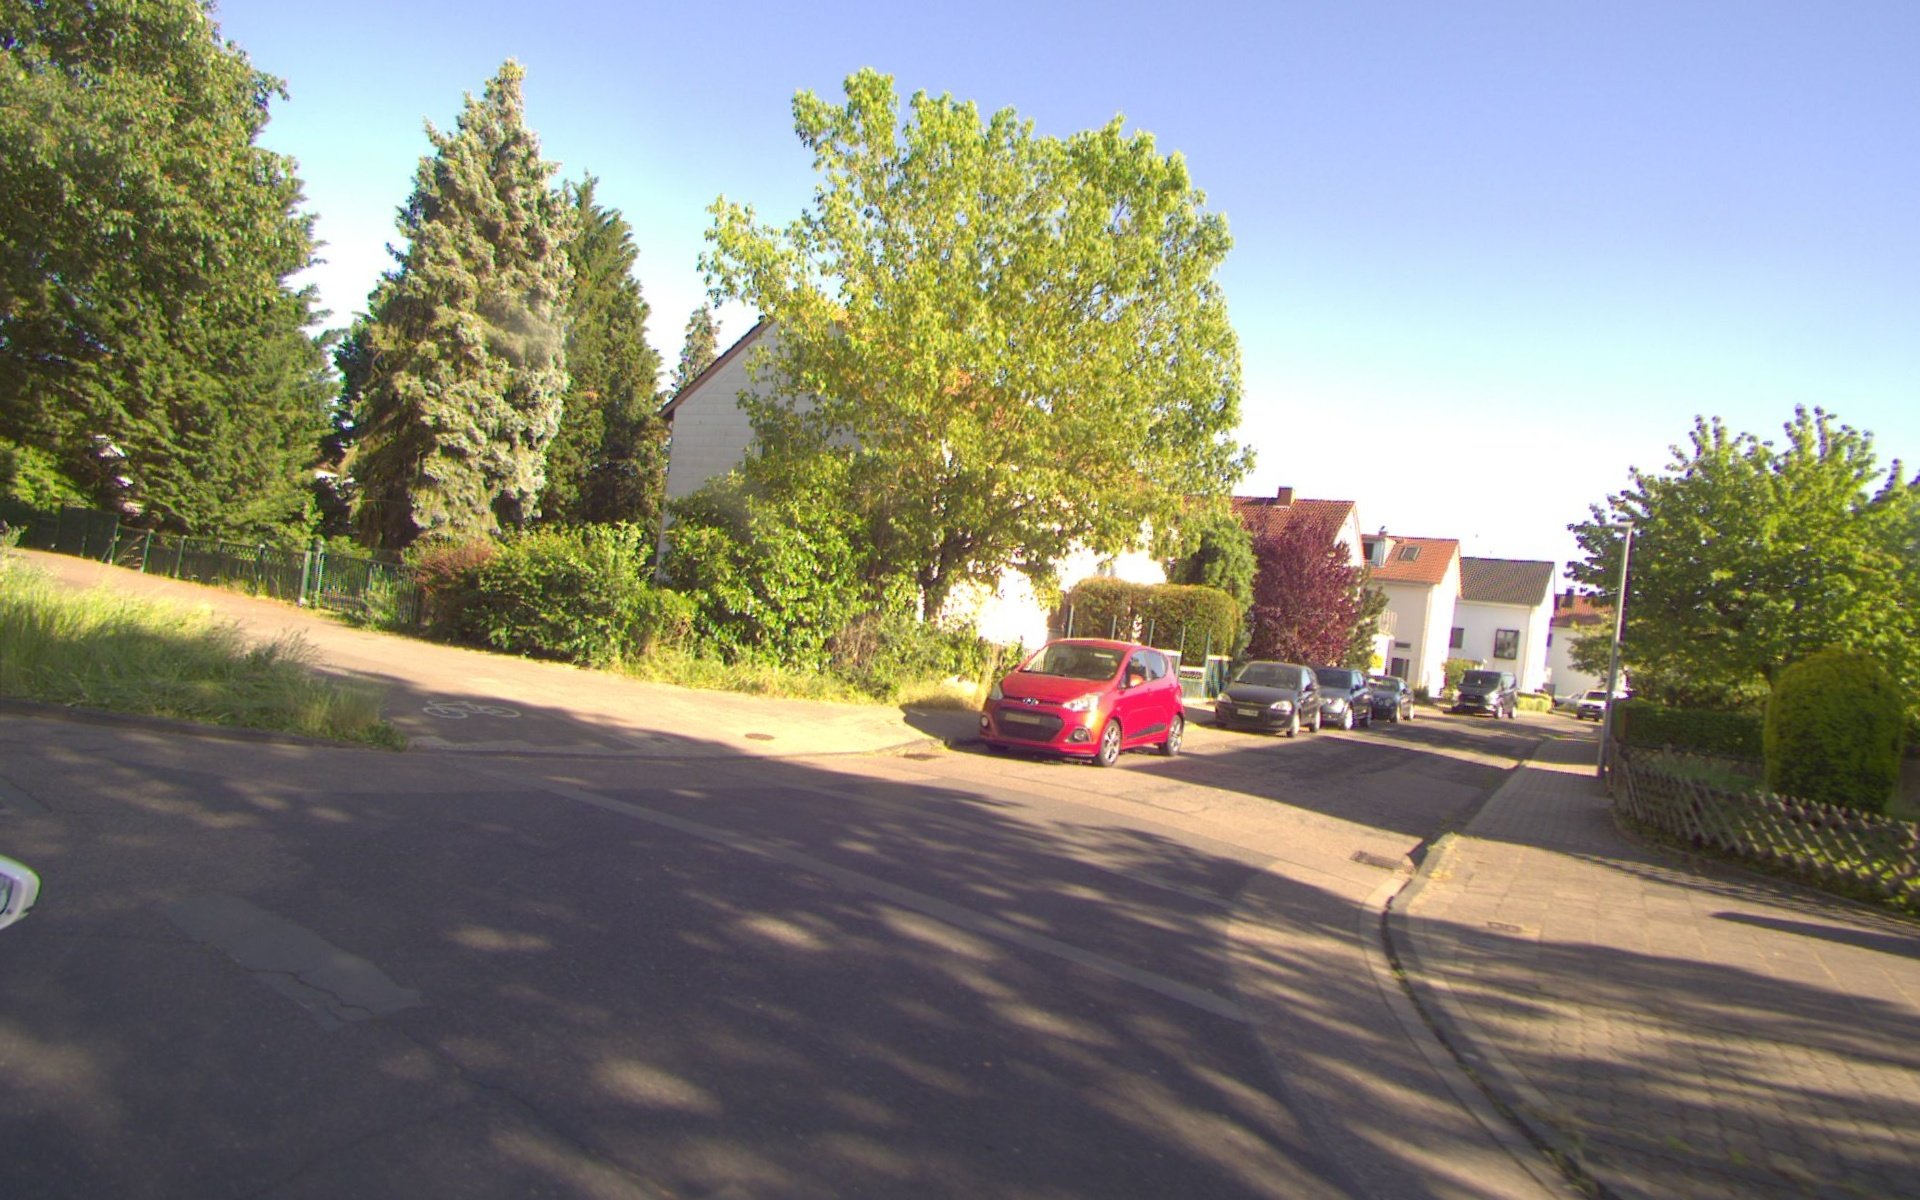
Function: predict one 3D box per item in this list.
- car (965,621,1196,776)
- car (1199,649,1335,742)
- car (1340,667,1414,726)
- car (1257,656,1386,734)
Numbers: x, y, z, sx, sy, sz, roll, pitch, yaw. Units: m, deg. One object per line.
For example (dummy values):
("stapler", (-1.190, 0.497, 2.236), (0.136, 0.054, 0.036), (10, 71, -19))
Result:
("car", (1.700, 1.265, 13.120), (1.612, 1.528, 3.549), (8, -1, 29))
("car", (6.519, 1.979, 21.062), (1.811, 1.529, 3.962), (7, -1, 29))
("car", (12.904, 2.979, 31.039), (1.612, 1.528, 3.549), (6, -2, 29))
("car", (9.099, 2.370, 25.079), (1.859, 1.529, 4.302), (7, -1, 35))
